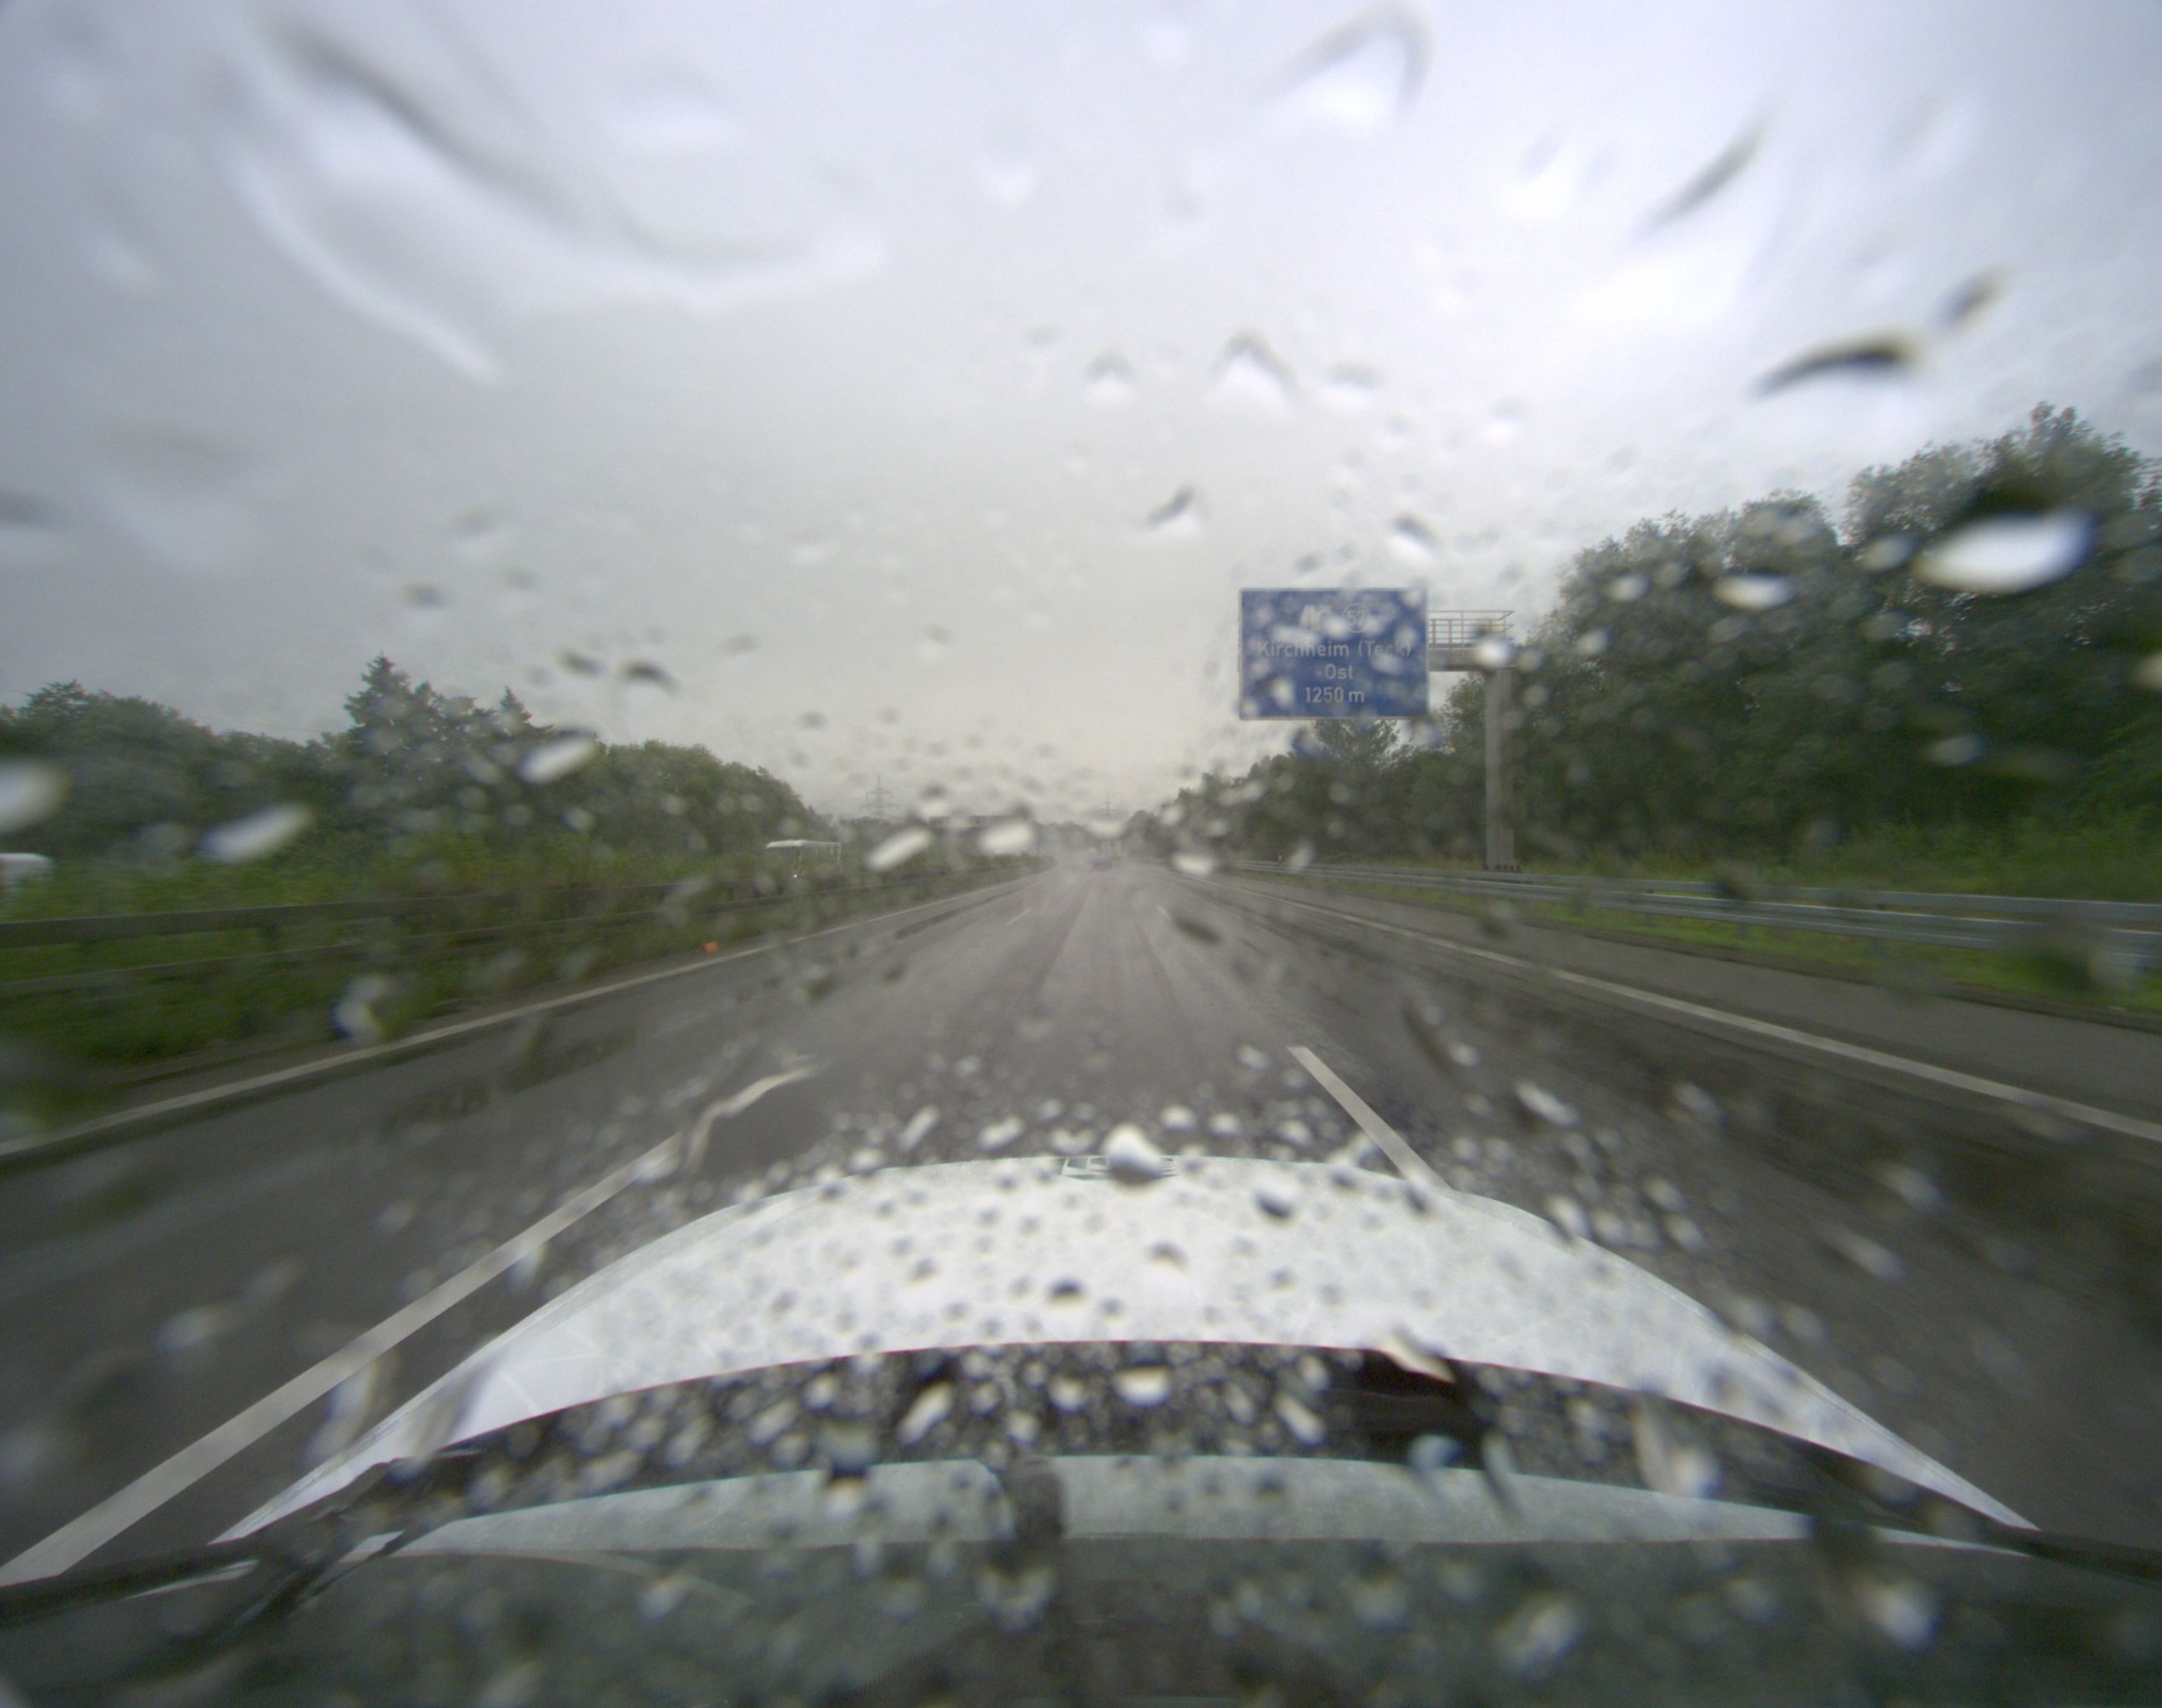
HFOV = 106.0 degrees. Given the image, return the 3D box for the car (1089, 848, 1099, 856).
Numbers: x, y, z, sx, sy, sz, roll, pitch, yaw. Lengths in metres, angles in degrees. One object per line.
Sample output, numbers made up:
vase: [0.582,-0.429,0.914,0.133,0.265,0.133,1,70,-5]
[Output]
car: [3.697,-0.613,231.349,2.389,2.272,4.994,-1,1,-5]

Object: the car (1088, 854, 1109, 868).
car: [1.554,0.587,71.580,1.742,1.212,4.001,0,0,1]

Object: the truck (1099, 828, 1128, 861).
truck: [5.353,-1.619,139.447,4.242,4.971,17.342,-3,0,1]

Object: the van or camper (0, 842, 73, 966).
van or camper: [-21.388,0.910,12.478,2.595,2.275,7.340,1,0,1]

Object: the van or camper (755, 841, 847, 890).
van or camper: [-19.368,0.721,57.106,2.877,3.086,9.516,-1,0,1]
